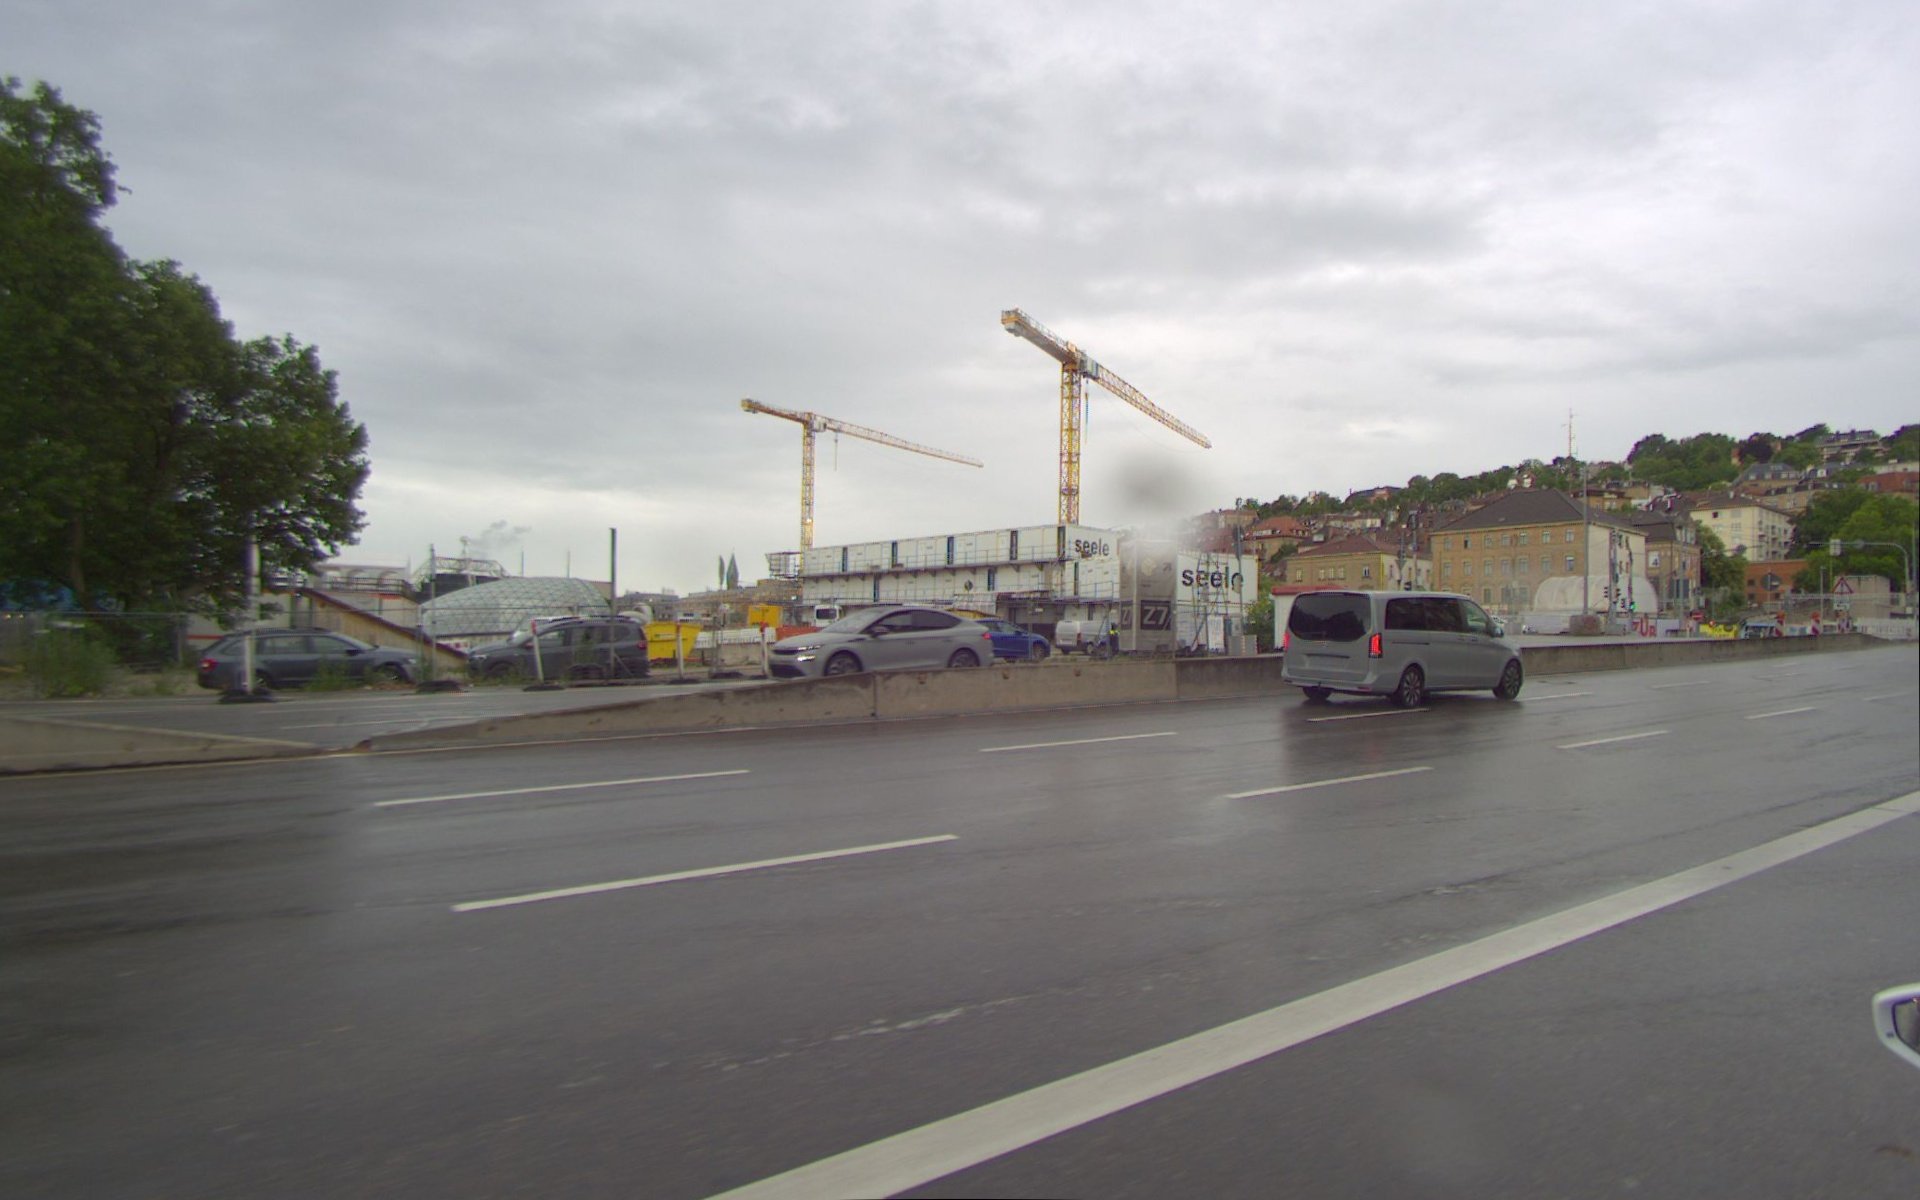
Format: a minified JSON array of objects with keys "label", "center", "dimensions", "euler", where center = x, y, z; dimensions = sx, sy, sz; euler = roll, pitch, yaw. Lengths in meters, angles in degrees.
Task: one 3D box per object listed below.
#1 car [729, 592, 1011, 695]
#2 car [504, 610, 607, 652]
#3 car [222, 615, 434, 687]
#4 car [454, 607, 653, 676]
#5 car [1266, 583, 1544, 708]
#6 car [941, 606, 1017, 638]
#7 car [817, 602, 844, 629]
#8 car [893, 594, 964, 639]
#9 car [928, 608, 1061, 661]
[{"label":"car","center":[-1.643,0.926,19.722],"dimensions":[5.251,1.778,1.979],"euler":[4,-4,-37]},{"label":"car","center":[-22.494,1.737,56.106],"dimensions":[2.086,2.258,5.346],"euler":[0,-2,25]},{"label":"car","center":[-14.964,1.189,23.968],"dimensions":[4.130,1.586,1.752],"euler":[1,-2,-33]},{"label":"car","center":[-10.613,1.112,26.338],"dimensions":[4.622,1.586,1.756],"euler":[3,-3,-26]},{"label":"car","center":[7.814,0.797,17.406],"dimensions":[5.306,1.880,1.980],"euler":[3,-1,-36]},{"label":"car","center":[1.330,1.455,66.750],"dimensions":[5.278,2.040,1.974],"euler":[1,-2,-45]},{"label":"car","center":[-10.208,1.243,79.480],"dimensions":[1.962,2.051,5.309],"euler":[0,-2,-6]},{"label":"car","center":[-2.139,1.184,70.450],"dimensions":[1.969,2.867,5.291],"euler":[-1,-4,39]},{"label":"car","center":[1.155,1.125,33.058],"dimensions":[3.956,1.643,1.983],"euler":[1,-1,-32]}]
